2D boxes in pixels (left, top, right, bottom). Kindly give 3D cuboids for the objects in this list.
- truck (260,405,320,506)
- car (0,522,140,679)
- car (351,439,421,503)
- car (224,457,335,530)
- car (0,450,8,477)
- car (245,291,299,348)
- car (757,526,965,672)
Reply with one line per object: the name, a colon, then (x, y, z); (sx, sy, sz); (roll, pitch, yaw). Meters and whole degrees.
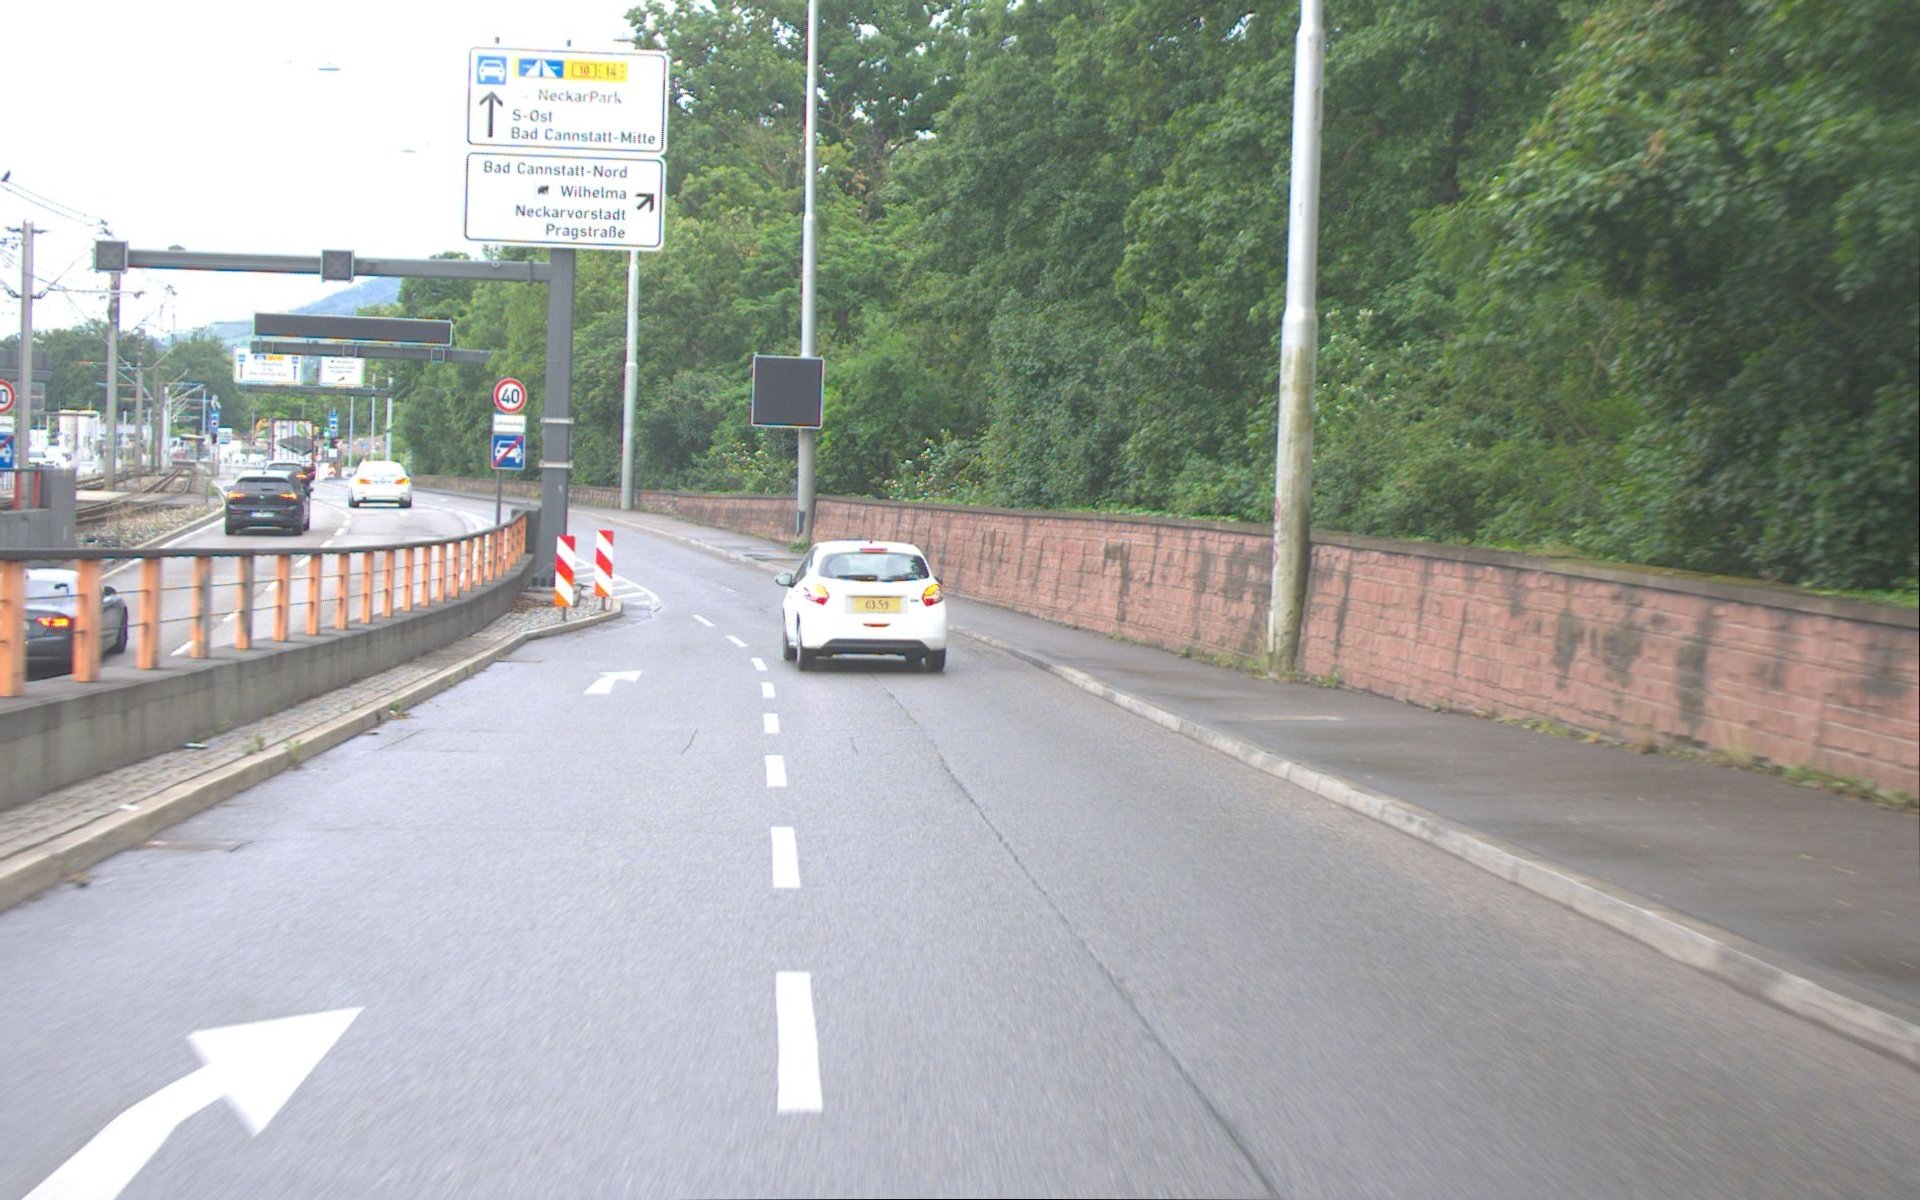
truck: (-42.923, -9.182, 220.443); (3.464, 5.383, 12.053); (2, -2, -11)
car: (-12.593, -0.032, 47.953); (1.721, 1.884, 3.536); (1, 4, -5)
car: (-18.121, -4.052, 108.464); (2.081, 1.866, 4.097); (0, 0, -11)
car: (-15.638, -2.428, 79.162); (1.993, 1.570, 4.000); (0, 0, -4)
car: (-57.124, -8.056, 202.045); (1.825, 1.579, 3.832); (1, 2, -9)
car: (-26.443, -10.757, 132.084); (1.993, 1.866, 4.001); (0, 0, -12)
car: (-1.212, 0.034, 40.093); (1.955, 1.483, 4.000); (2, -2, -8)
